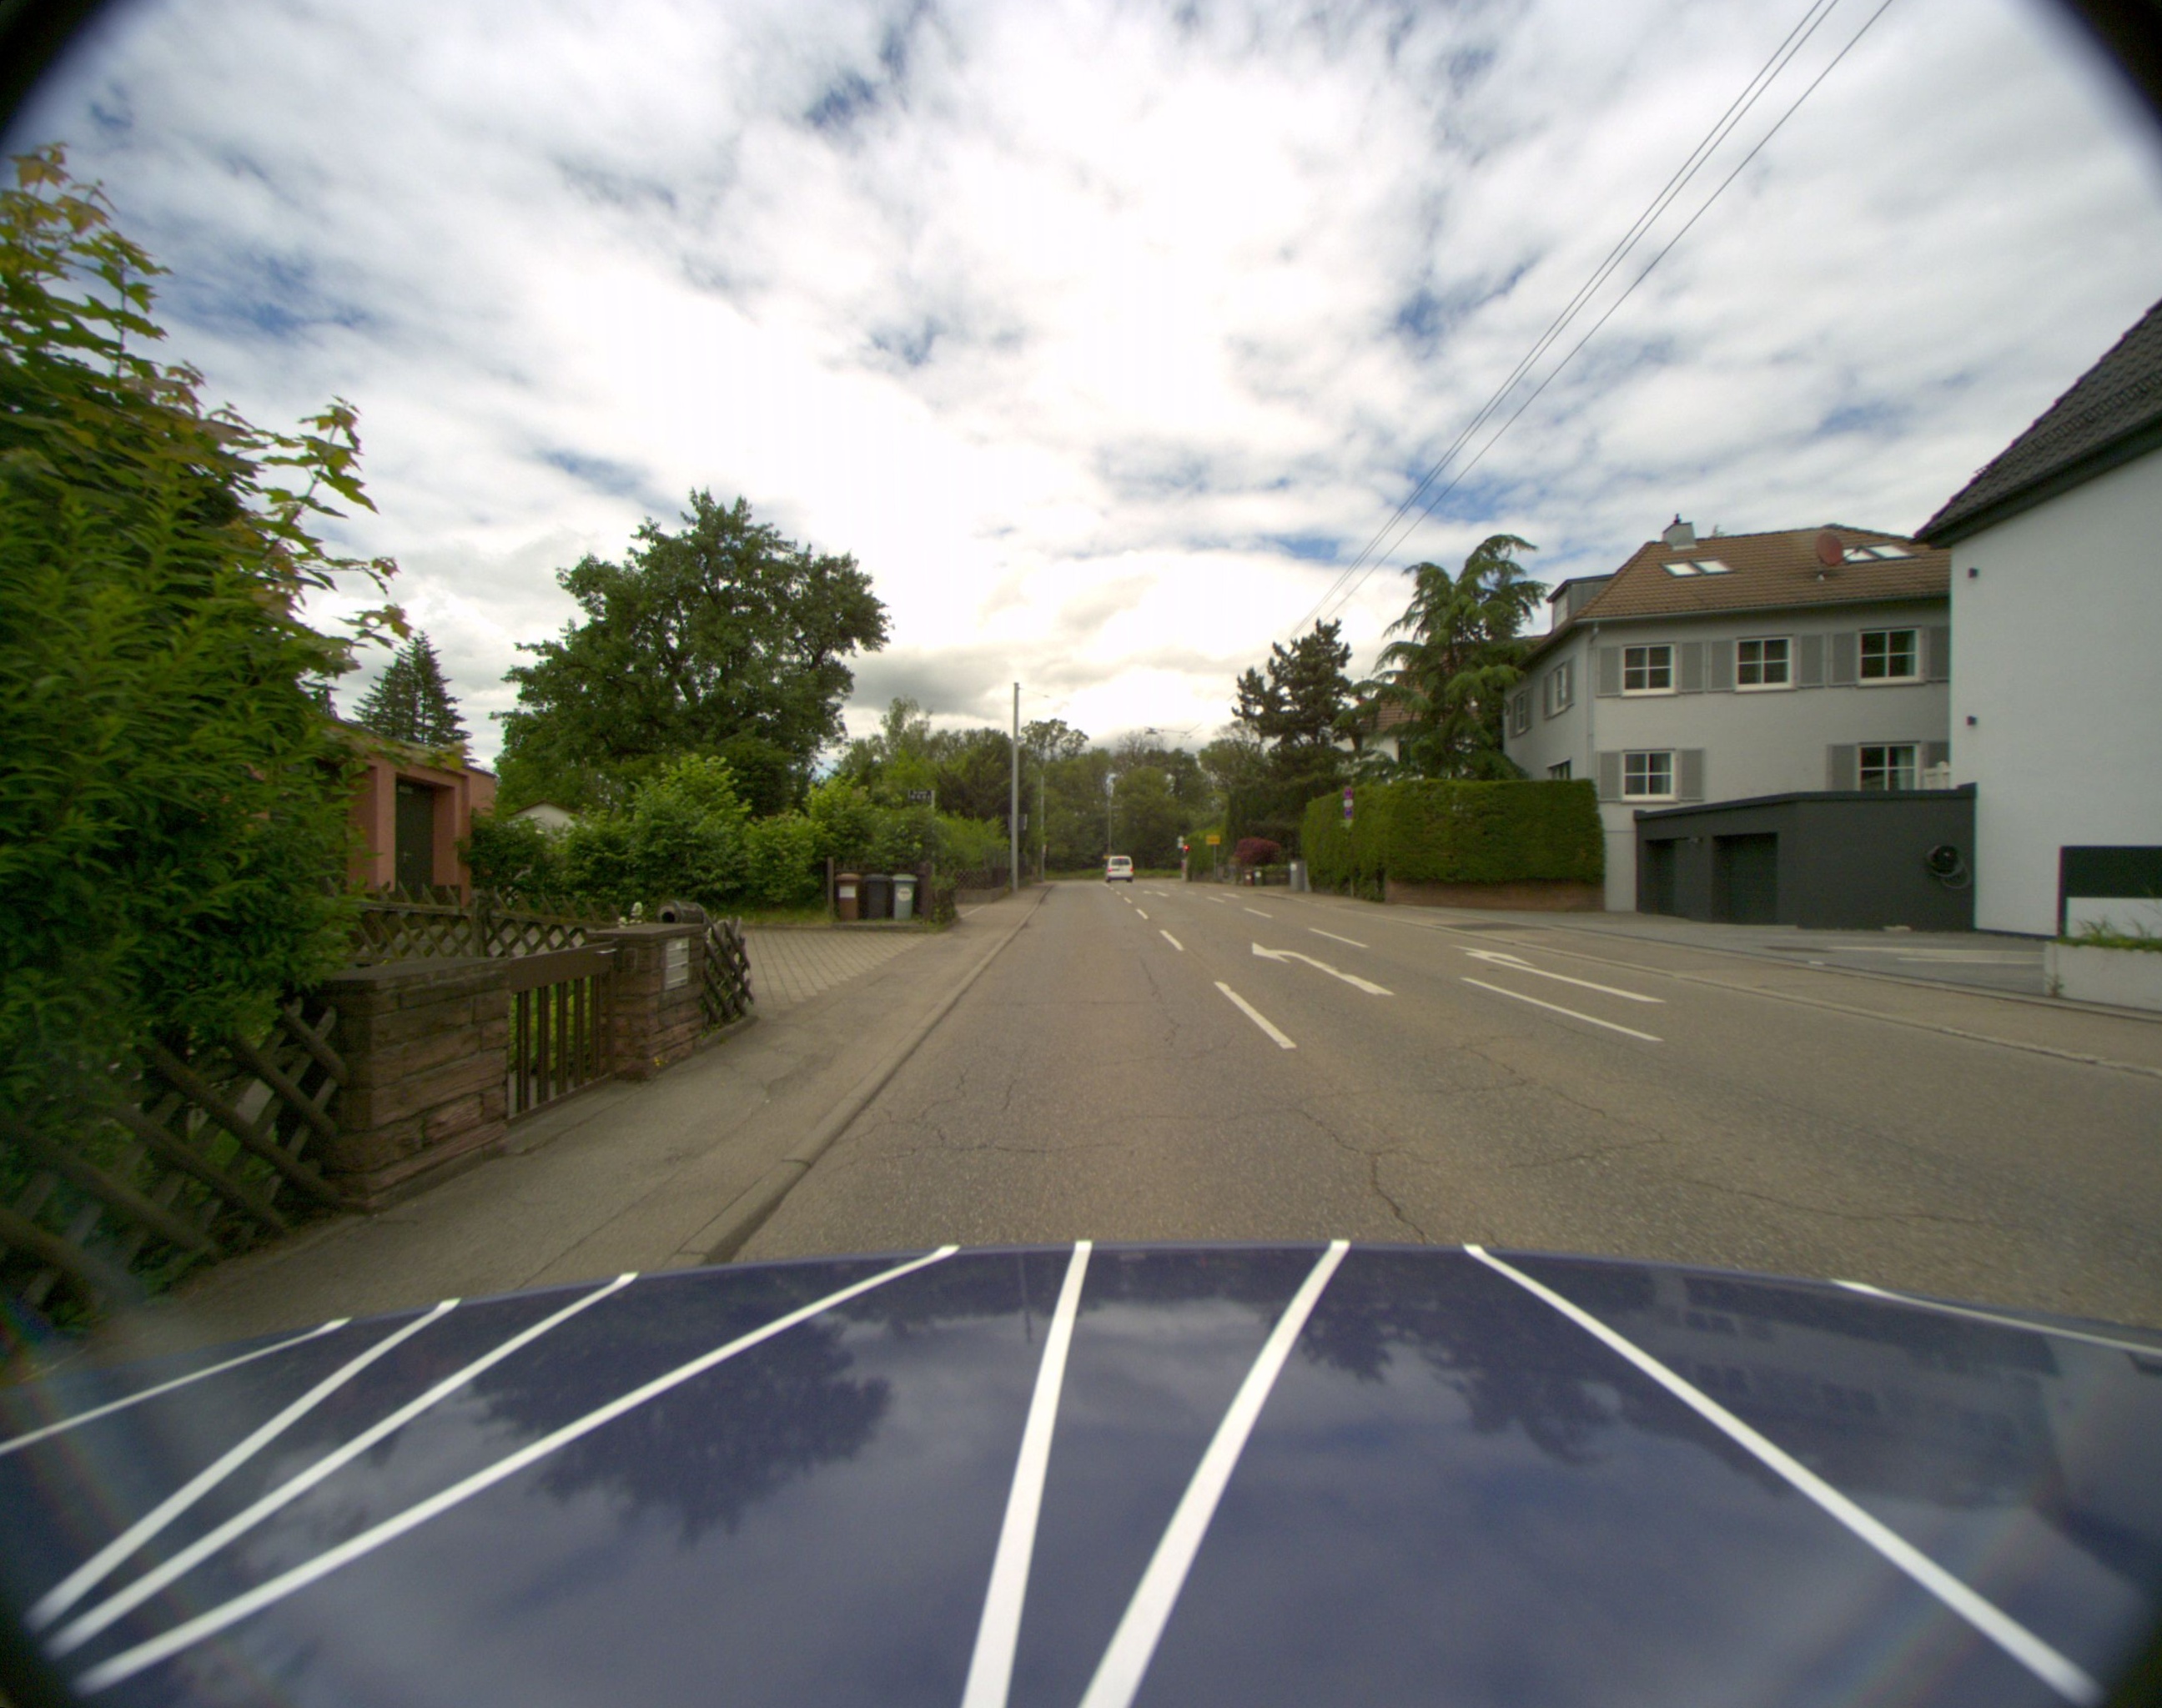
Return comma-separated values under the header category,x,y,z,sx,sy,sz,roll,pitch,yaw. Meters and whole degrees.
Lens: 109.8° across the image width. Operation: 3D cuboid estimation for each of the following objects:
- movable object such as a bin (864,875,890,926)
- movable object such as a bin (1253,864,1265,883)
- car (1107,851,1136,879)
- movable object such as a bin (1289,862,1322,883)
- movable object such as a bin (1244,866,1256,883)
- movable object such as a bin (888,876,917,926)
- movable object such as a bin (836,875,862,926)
category,x,y,z,sx,sy,sz,roll,pitch,yaw
movable object such as a bin,-4.079,0.923,15.167,0.448,0.950,0.685,3,0,-16
movable object such as a bin,10.091,1.102,43.124,0.479,1.028,0.717,-1,0,29
car,3.096,0.879,58.830,1.863,2.035,5.172,0,-1,-1
movable object such as a bin,12.287,1.017,41.656,1.593,1.074,0.718,-2,0,31
movable object such as a bin,9.663,1.180,43.384,0.464,0.936,0.648,-1,0,29
movable object such as a bin,-3.608,0.947,15.333,0.448,0.950,0.685,3,0,-20
movable object such as a bin,-4.588,0.910,15.040,0.448,0.950,0.685,3,0,-16
